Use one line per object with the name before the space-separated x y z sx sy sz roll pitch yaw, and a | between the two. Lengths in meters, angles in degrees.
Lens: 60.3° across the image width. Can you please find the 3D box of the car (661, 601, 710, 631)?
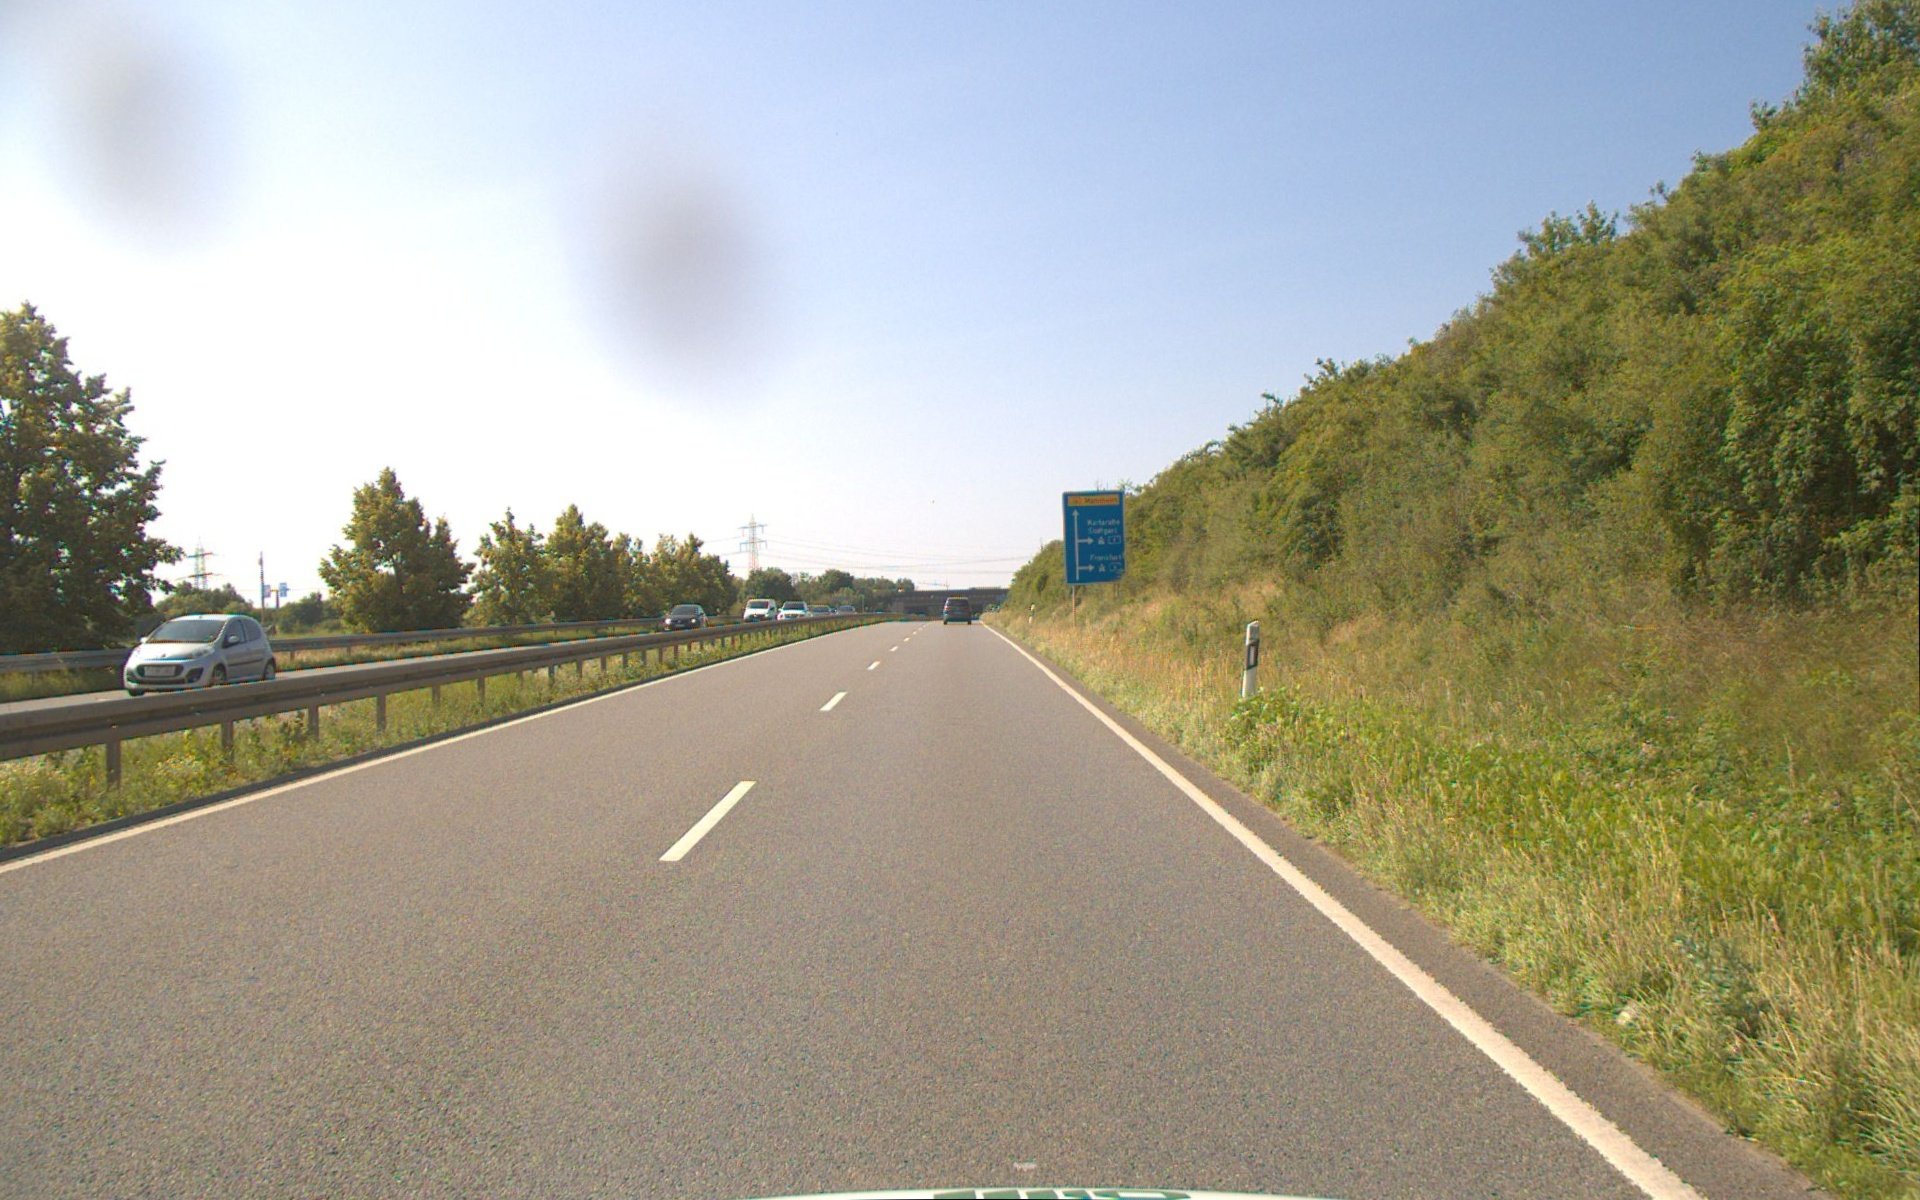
car | -14.183 0.810 85.625 1.801 1.498 4.458 -1 0 0

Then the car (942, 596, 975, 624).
car | -0.092 0.612 102.825 1.811 1.673 4.001 -1 -1 3

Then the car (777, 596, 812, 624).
car | -10.569 0.635 105.843 1.801 1.694 4.721 0 0 0

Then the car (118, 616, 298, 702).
car | -14.219 1.075 31.516 1.656 1.462 3.939 -1 0 -1

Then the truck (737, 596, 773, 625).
truck | -14.345 0.704 115.850 1.883 1.872 5.292 -1 1 0
